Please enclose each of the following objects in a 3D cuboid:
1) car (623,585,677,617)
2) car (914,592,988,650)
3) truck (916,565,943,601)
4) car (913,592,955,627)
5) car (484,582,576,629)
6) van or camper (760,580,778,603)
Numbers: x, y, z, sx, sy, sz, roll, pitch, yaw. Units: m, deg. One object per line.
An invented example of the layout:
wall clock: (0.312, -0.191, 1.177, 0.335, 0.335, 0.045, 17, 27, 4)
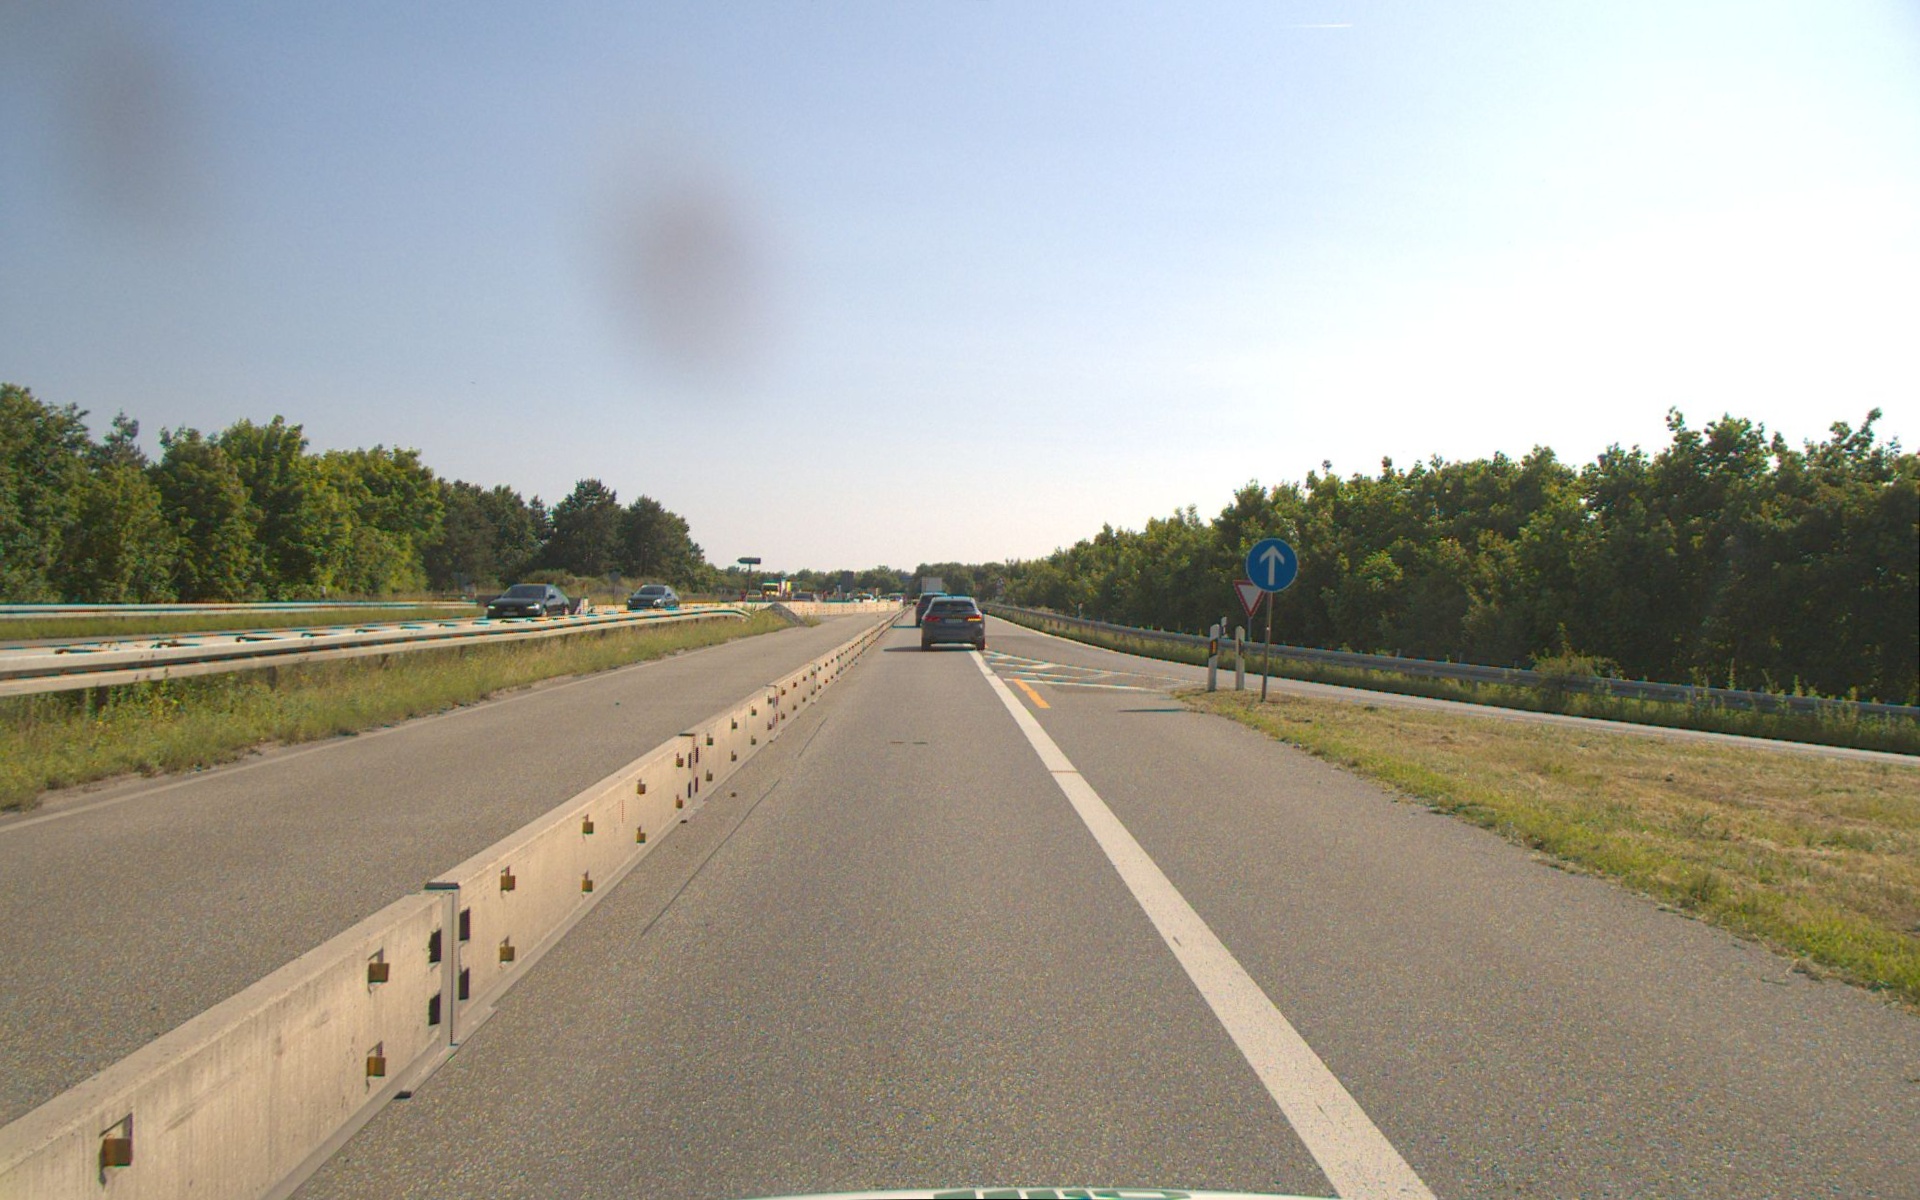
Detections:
car: (-14.950, 0.051, 80.032, 1.760, 1.459, 4.592, 1, 0, 0)
car: (-0.297, 0.558, 46.428, 1.882, 1.520, 3.998, 1, 0, -3)
truck: (-4.485, -2.455, 238.733, 3.685, 4.997, 14.131, 1, 0, -2)
car: (-1.235, 0.432, 78.804, 1.953, 1.594, 3.999, 0, 0, -1)
car: (-14.758, 0.166, 57.066, 1.778, 1.514, 5.023, 2, 0, 1)
van or camper: (-21.472, -0.972, 185.590, 1.956, 2.419, 6.192, -1, 0, -7)
